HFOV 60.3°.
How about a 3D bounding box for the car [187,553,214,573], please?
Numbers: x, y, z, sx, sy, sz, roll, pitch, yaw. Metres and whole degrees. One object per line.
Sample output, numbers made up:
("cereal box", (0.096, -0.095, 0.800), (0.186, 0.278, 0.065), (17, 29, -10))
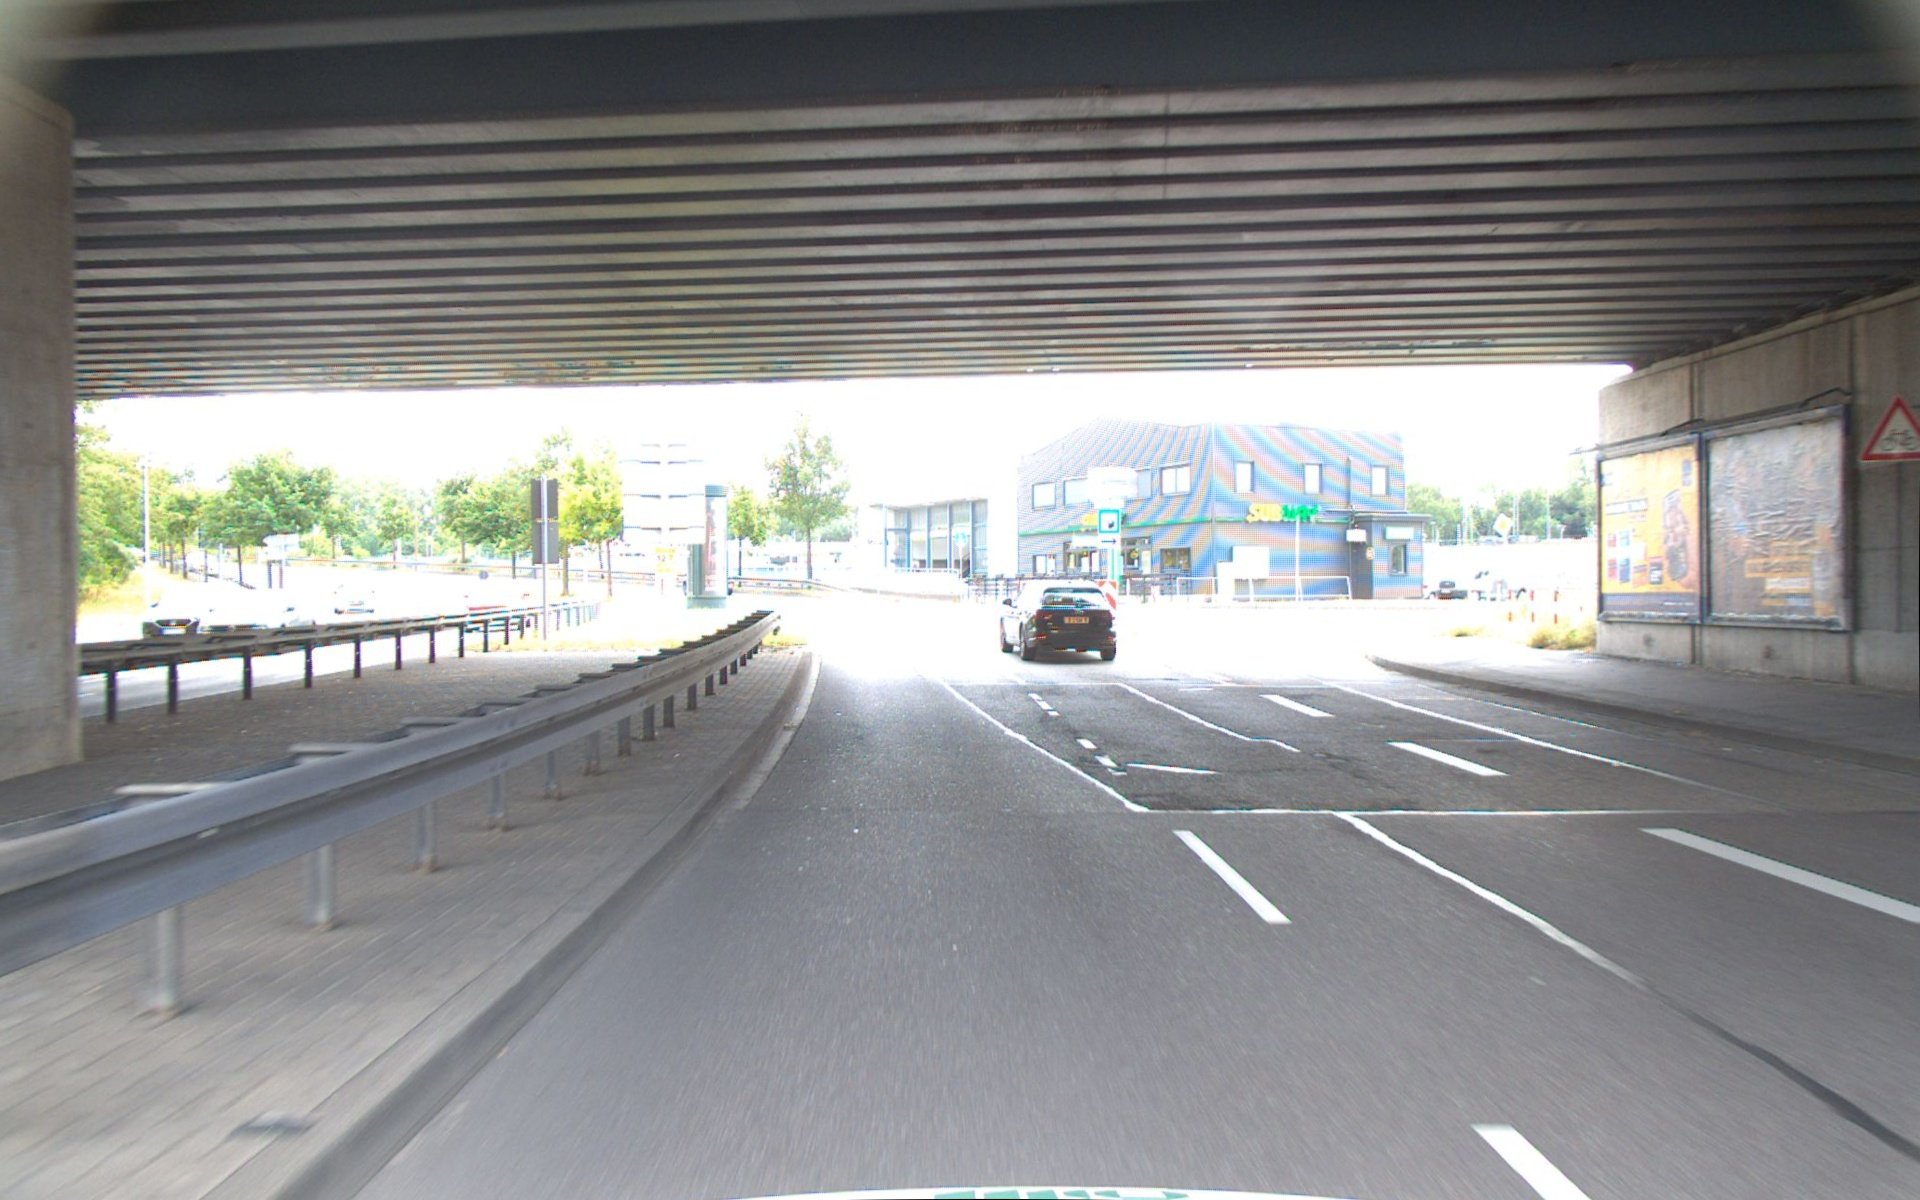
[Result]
("car", (-66.872, -3.255, 145.578), (1.970, 1.558, 4.293), (-3, 2, -27))

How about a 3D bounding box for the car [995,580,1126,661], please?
("car", (1.855, 0.339, 31.860), (1.954, 1.414, 4.572), (1, 1, -4))

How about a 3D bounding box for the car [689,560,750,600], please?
("car", (-13.015, -1.067, 89.303), (1.969, 2.073, 4.674), (-1, 0, -25))

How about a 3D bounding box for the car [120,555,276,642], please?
("car", (-19.019, -0.053, 41.485), (1.953, 2.049, 4.336), (-1, 1, -1))

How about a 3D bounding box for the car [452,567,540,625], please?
("car", (-14.347, -0.142, 51.397), (1.956, 1.704, 4.316), (-1, 0, -7))

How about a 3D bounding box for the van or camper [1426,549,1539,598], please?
("van or camper", (25.499, -1.249, 80.658), (6.181, 2.211, 2.098), (1, 0, -37))

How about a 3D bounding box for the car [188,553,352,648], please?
("car", (-15.772, -0.013, 38.062), (1.953, 2.049, 4.456), (-1, 1, -1))

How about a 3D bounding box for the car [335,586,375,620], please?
("car", (-29.143, 0.128, 79.726), (1.726, 1.537, 3.978), (-1, 1, -19))
